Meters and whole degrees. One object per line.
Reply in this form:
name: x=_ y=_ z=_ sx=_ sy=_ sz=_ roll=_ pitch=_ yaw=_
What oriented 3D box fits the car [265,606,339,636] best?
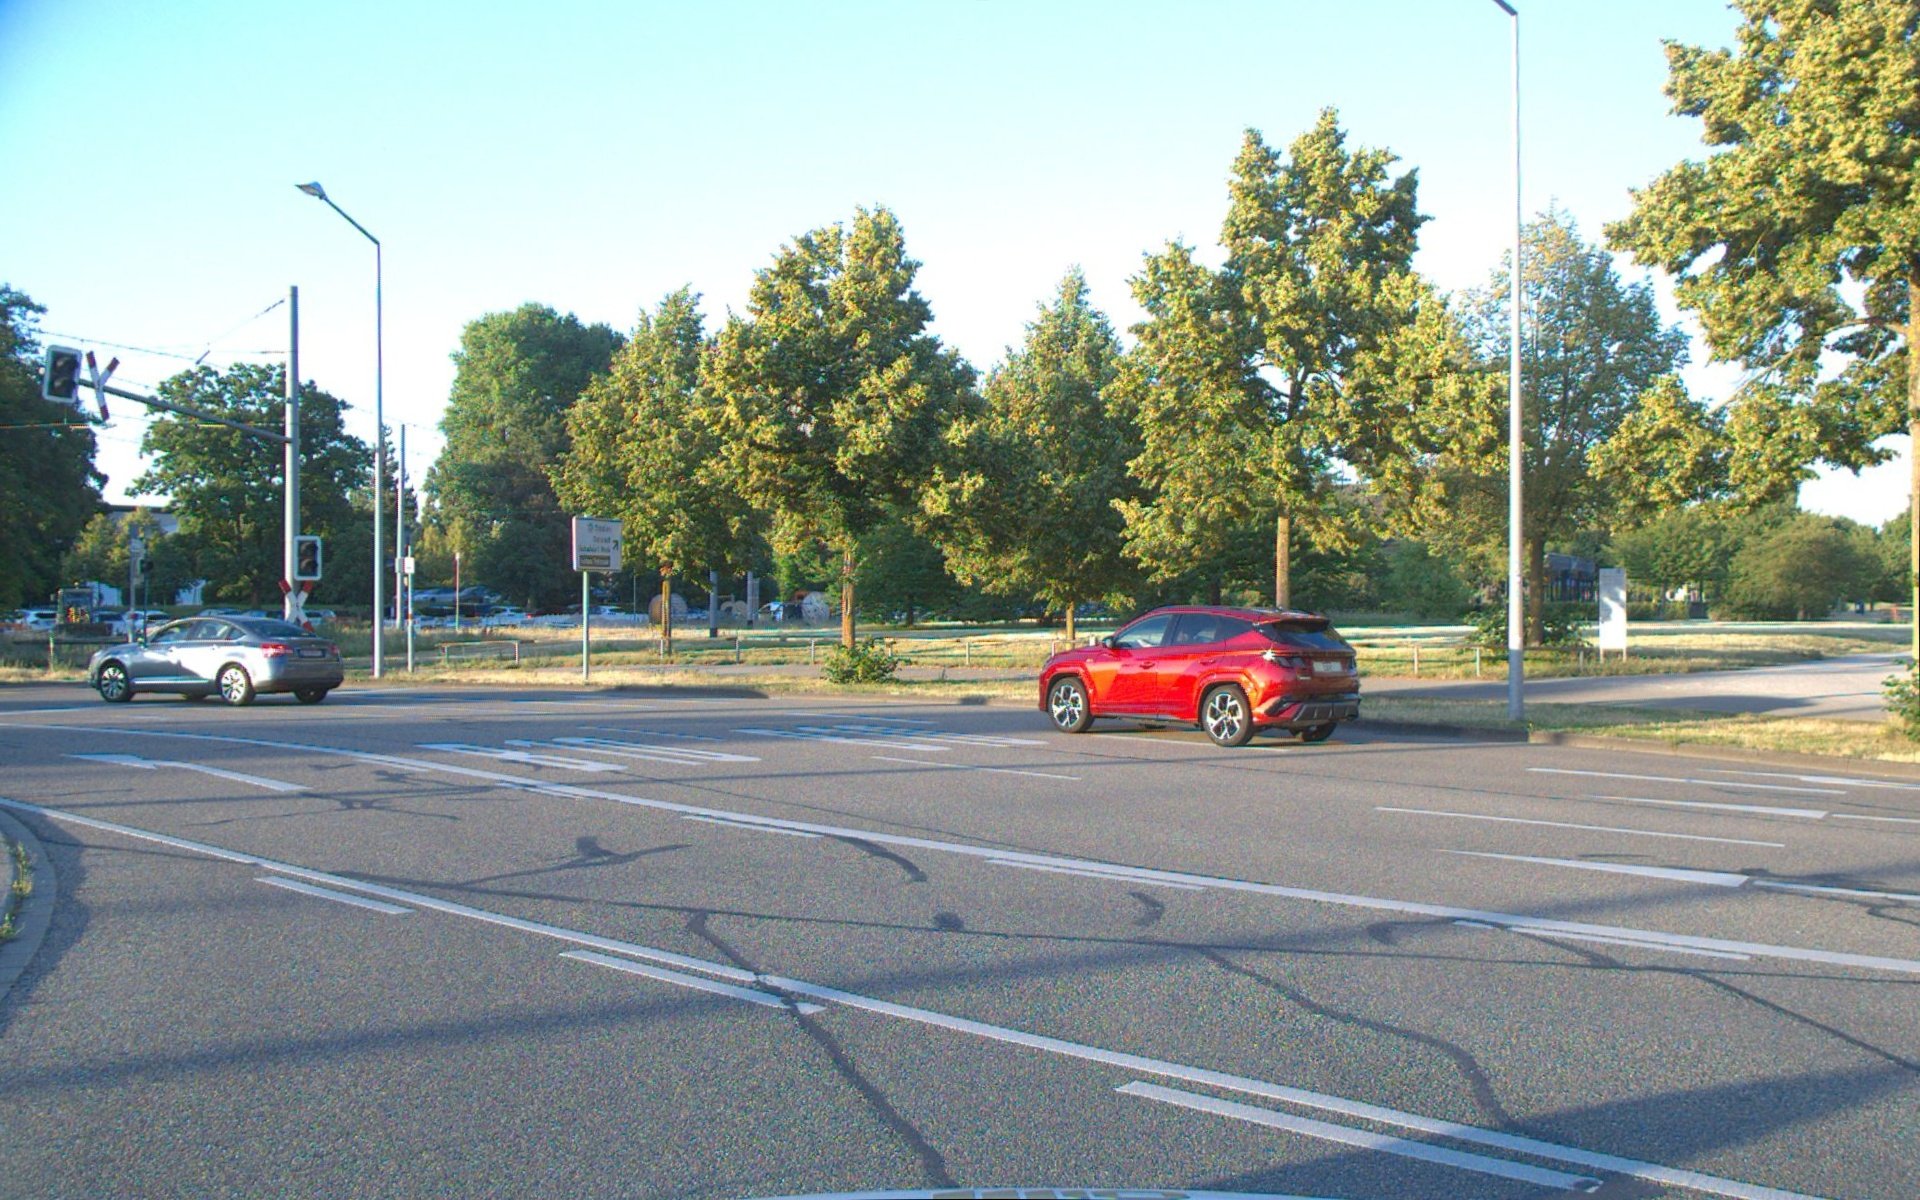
car: x=-37.361 y=1.174 z=93.876 sx=3.915 sy=1.632 sz=1.995 roll=0 pitch=0 yaw=32

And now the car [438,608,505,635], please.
car: x=-30.947 y=1.331 z=104.690 sx=3.915 sy=1.632 sz=1.995 roll=0 pitch=0 yaw=32

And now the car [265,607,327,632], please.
car: x=-45.786 y=1.329 z=114.118 sx=3.933 sy=1.691 sz=1.889 roll=0 pitch=0 yaw=-23

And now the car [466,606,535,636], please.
car: x=-32.494 y=1.450 z=117.160 sx=4.499 sy=2.049 sz=1.996 roll=0 pitch=0 yaw=-9

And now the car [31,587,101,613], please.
car: x=-70.501 y=-0.014 z=130.474 sx=1.956 sy=2.049 sz=4.590 roll=0 pitch=0 yaw=29

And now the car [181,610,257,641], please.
car: x=-40.504 y=1.370 z=90.382 sx=3.915 sy=1.632 sz=1.995 roll=0 pitch=0 yaw=32

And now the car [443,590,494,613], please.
car: x=-44.055 y=0.122 z=148.243 sx=1.963 sy=2.049 sz=3.979 roll=0 pitch=0 yaw=40

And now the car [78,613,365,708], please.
car: x=-12.528 y=0.975 z=28.052 sx=4.562 sy=1.489 sz=1.886 roll=0 pitch=0 yaw=24

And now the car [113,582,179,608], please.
car: x=-67.084 y=-0.402 z=136.349 sx=1.958 sy=2.049 sz=4.585 roll=0 pitch=0 yaw=33

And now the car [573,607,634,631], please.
car: x=-24.870 y=1.331 z=115.428 sx=3.915 sy=1.632 sz=1.995 roll=0 pitch=0 yaw=32

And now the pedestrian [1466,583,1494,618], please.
pedestrian: x=24.325 y=0.034 z=77.406 sx=1.047 sy=1.646 sz=0.911 roll=0 pitch=0 yaw=2

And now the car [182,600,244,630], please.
car: x=-52.409 y=1.046 z=115.999 sx=3.939 sy=2.049 sz=1.983 roll=0 pitch=0 yaw=-27

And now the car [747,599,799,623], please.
car: x=-12.972 y=0.769 z=114.675 sx=1.724 sy=1.646 sz=3.940 roll=0 pitch=0 yaw=-41

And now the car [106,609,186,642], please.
car: x=-42.228 y=1.320 z=85.793 sx=3.915 sy=1.632 sz=1.995 roll=0 pitch=0 yaw=32

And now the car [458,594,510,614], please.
car: x=-41.655 y=0.308 z=144.730 sx=3.902 sy=1.736 sz=2.001 roll=0 pitch=0 yaw=6

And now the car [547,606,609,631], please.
car: x=-26.239 y=1.245 z=113.678 sx=3.915 sy=1.632 sz=1.995 roll=0 pitch=0 yaw=32

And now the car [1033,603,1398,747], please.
car: x=3.121 y=0.854 z=20.918 sx=1.982 sy=1.601 sz=4.349 roll=0 pitch=0 yaw=-41

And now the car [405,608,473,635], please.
car: x=-32.282 y=1.299 z=102.553 sx=3.915 sy=1.632 sz=1.995 roll=0 pitch=0 yaw=32

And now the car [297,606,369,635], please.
car: x=-36.416 y=1.199 z=96.093 sx=3.915 sy=1.632 sz=1.995 roll=0 pitch=0 yaw=32

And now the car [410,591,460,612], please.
car: x=-47.916 y=0.126 z=151.070 sx=1.959 sy=1.847 sz=3.987 roll=0 pitch=0 yaw=34

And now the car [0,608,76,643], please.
car: x=-45.599 y=1.244 z=81.441 sx=3.915 sy=1.632 sz=1.995 roll=0 pitch=0 yaw=32

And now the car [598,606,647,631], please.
car: x=-26.332 y=1.403 z=128.884 sx=1.979 sy=1.782 sz=4.538 roll=0 pitch=1 yaw=-37

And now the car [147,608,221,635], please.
car: x=-50.201 y=1.378 z=107.091 sx=1.863 sy=1.691 sz=3.987 roll=0 pitch=0 yaw=34

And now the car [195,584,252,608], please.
car: x=-63.341 y=-0.314 z=142.369 sx=1.958 sy=2.049 sz=4.105 roll=0 pitch=0 yaw=33

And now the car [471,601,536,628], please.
car: x=-34.561 y=1.094 z=125.268 sx=4.499 sy=2.049 sz=1.996 roll=0 pitch=0 yaw=-9

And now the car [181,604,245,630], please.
car: x=-50.530 y=1.117 z=111.878 sx=3.939 sy=1.691 sz=1.983 roll=0 pitch=0 yaw=-27

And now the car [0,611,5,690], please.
car: x=-22.717 y=1.081 z=34.651 sx=4.414 sy=1.666 sz=2.002 roll=0 pitch=0 yaw=9

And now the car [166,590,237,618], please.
car: x=-56.616 y=0.248 z=123.498 sx=1.956 sy=2.049 sz=4.590 roll=0 pitch=0 yaw=29
